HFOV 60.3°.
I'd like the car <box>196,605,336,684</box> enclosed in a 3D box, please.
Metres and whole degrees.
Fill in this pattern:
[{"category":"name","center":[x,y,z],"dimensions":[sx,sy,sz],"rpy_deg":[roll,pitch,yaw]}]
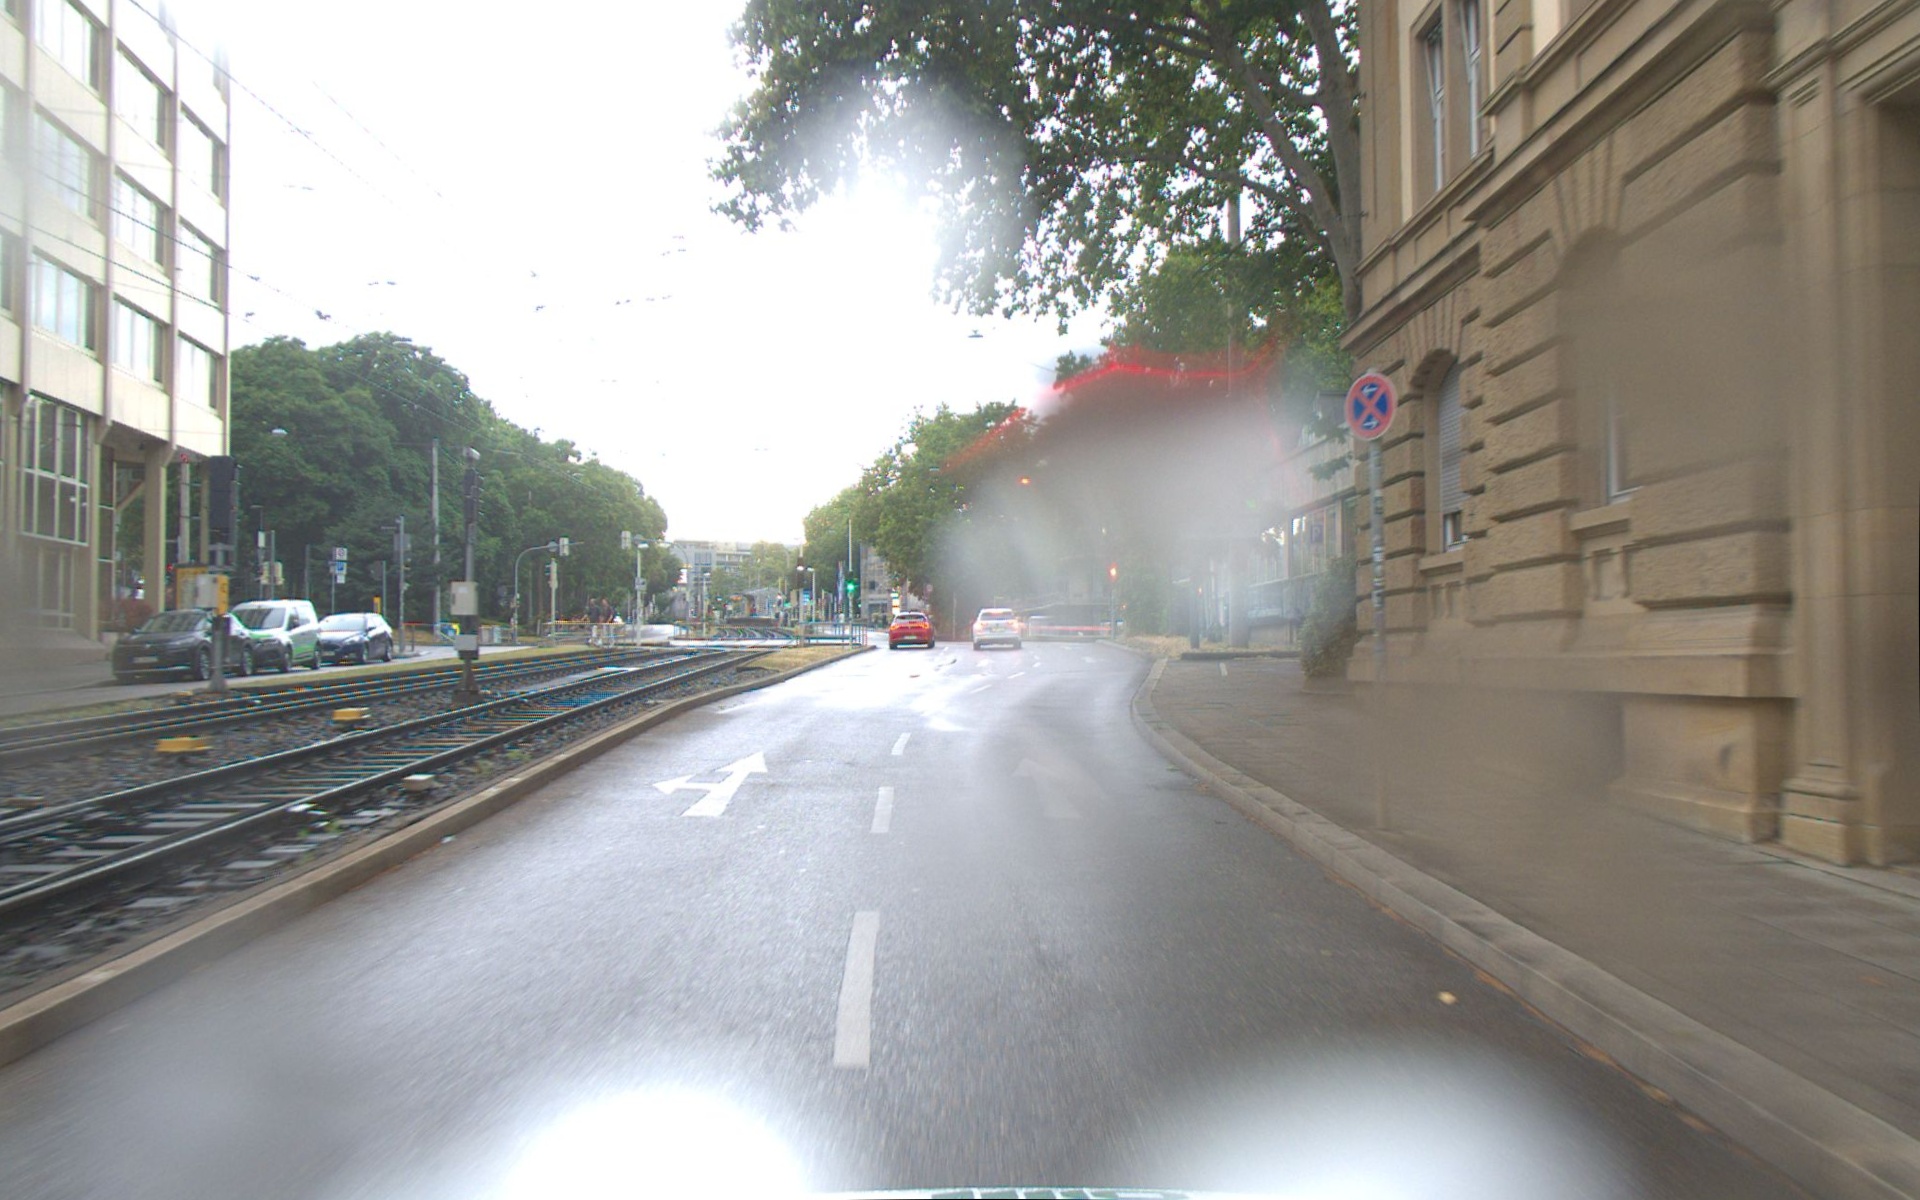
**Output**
[{"category":"car","center":[-17.606,1.144,42.193],"dimensions":[1.955,1.883,4.688],"rpy_deg":[1,-2,-6]}]

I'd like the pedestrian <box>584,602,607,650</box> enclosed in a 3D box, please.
[{"category":"pedestrian","center":[-14.039,1.002,63.677],"dimensions":[0.631,1.819,0.804],"rpy_deg":[2,-2,-27]}]

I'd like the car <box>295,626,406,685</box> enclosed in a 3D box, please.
[{"category":"car","center":[-17.869,1.622,48.693],"dimensions":[1.955,1.610,4.543],"rpy_deg":[1,-2,-6]}]

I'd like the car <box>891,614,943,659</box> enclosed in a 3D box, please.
[{"category":"car","center":[-1.666,1.457,65.313],"dimensions":[1.940,1.669,4.415],"rpy_deg":[1,-2,-1]}]

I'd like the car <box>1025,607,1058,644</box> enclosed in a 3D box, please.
[{"category":"car","center":[7.431,2.365,151.192],"dimensions":[2.494,3.189,5.026],"rpy_deg":[1,-2,-3]}]

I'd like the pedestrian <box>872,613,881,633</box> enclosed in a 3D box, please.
[{"category":"pedestrian","center":[-7.805,2.157,154.974],"dimensions":[0.742,1.855,0.699],"rpy_deg":[1,-2,-11]}]

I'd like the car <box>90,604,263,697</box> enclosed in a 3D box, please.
[{"category":"car","center":[-17.209,1.120,36.612],"dimensions":[1.955,1.883,4.688],"rpy_deg":[1,-2,-6]}]

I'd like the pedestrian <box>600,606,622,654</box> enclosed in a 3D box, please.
[{"category":"pedestrian","center":[-13.307,1.144,63.051],"dimensions":[0.630,1.819,0.805],"rpy_deg":[2,-2,-22]}]

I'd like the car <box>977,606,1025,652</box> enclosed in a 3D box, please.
[{"category":"car","center":[1.505,1.040,60.652],"dimensions":[1.644,1.604,4.253],"rpy_deg":[-1,-1,1]}]
